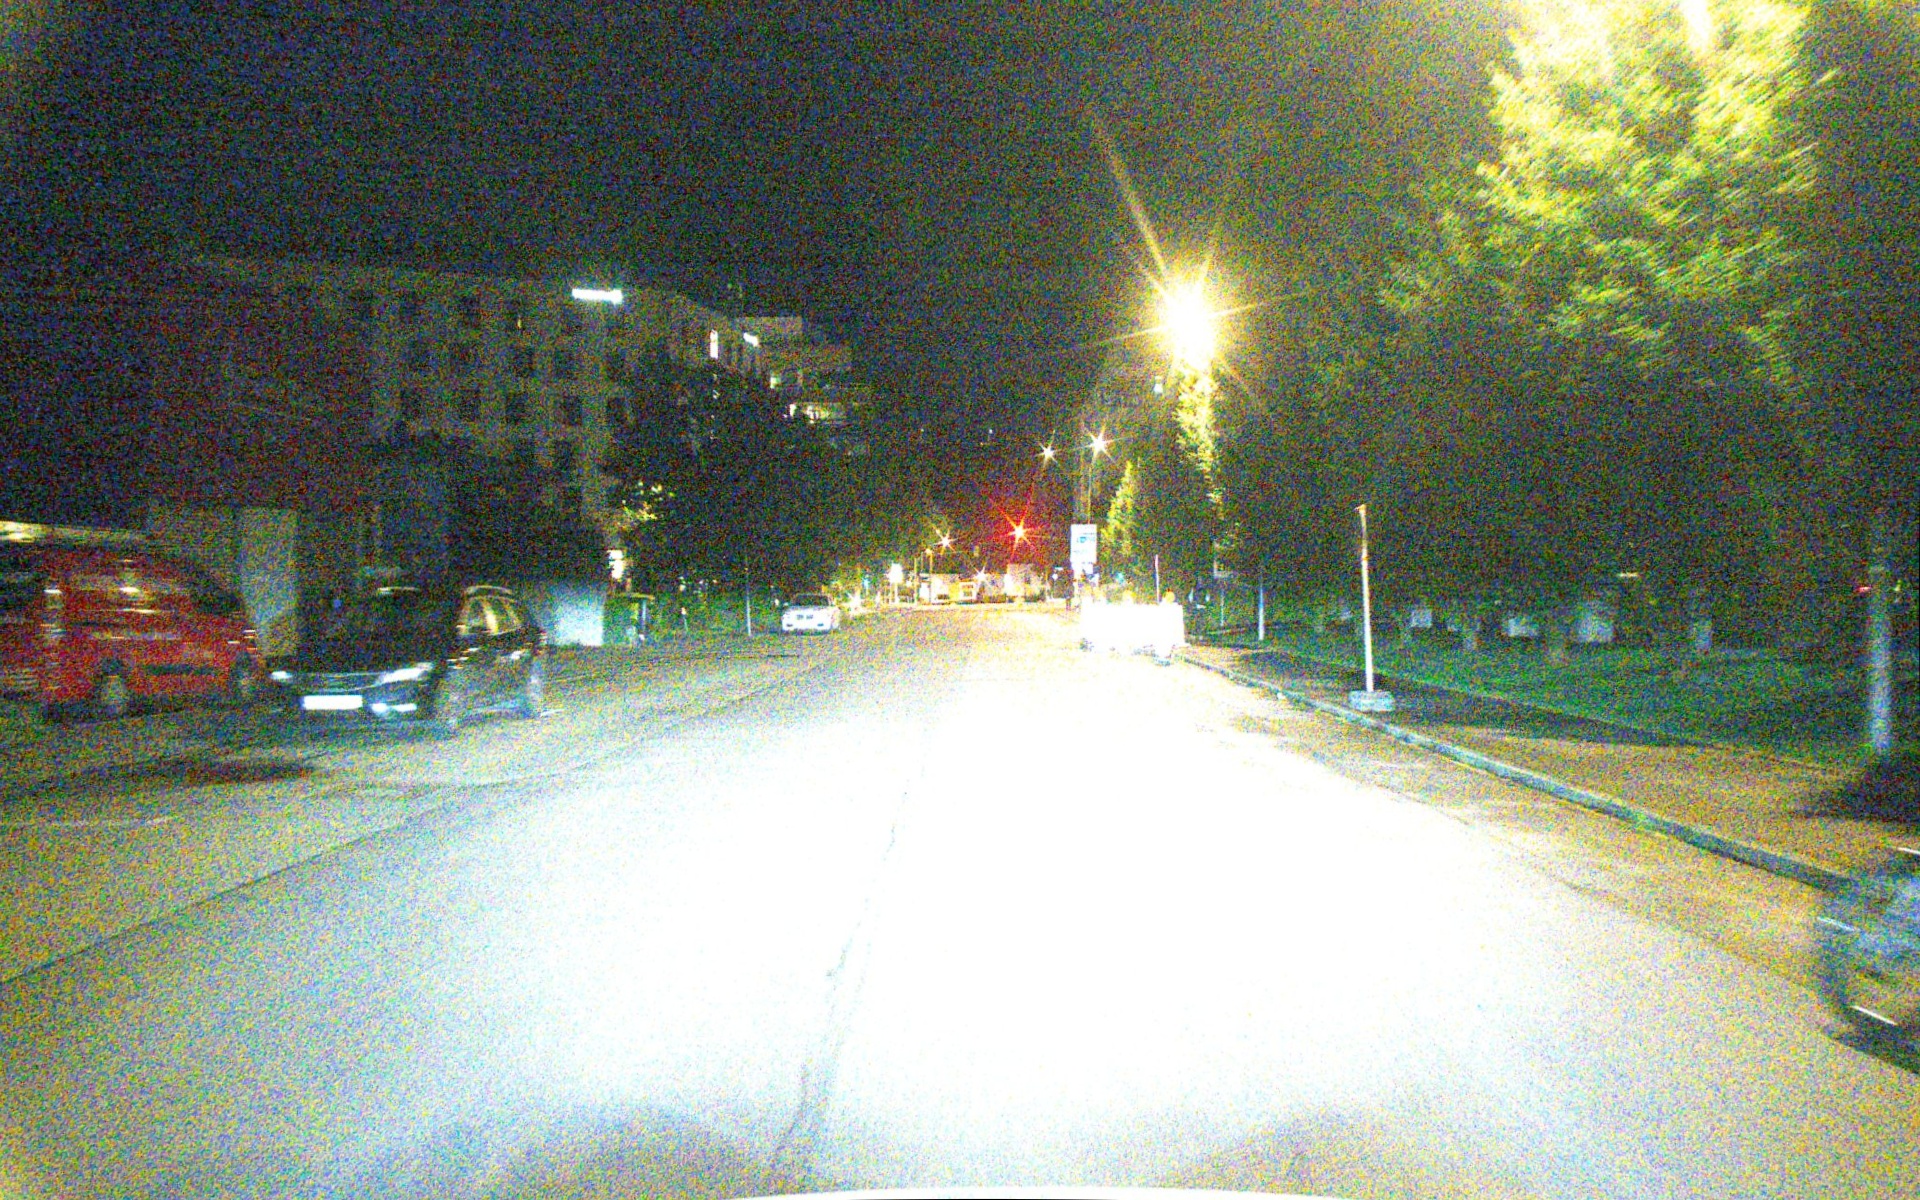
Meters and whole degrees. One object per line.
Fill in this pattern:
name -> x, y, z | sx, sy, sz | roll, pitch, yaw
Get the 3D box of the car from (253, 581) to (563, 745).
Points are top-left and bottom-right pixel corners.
car -> -5.787, 0.593, 17.928 | 1.718, 1.553, 4.324 | 0, 0, 3

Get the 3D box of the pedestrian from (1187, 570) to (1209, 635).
pedestrian -> 6.990, 0.082, 48.571 | 0.558, 1.885, 0.820 | 0, 0, 2

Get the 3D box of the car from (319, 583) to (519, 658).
car -> -12.258, 0.449, 37.642 | 3.905, 1.598, 1.817 | -1, 0, 1

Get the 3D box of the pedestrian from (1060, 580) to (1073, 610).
pedestrian -> 7.304, -0.357, 113.304 | 0.725, 2.016, 0.623 | 0, 0, -15

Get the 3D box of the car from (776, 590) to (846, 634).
car -> -5.145, 0.404, 57.548 | 1.871, 1.428, 4.339 | -1, 0, 2

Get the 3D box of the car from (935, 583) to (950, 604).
car -> -2.584, -0.935, 239.503 | 1.954, 3.026, 3.997 | 0, 0, -4

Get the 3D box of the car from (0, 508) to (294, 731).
car -> -10.351, 0.209, 20.236 | 1.951, 2.362, 4.970 | -2, 0, 5

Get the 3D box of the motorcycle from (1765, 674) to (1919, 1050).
motorcycle -> 3.906, 0.906, 5.491 | 2.139, 1.204, 0.766 | 1, 0, 33

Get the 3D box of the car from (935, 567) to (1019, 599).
car -> 2.575, -2.630, 251.896 | 12.169, 4.792, 4.794 | 0, 0, -13

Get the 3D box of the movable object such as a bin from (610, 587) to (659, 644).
movable object such as a bin -> -8.855, 0.412, 45.029 | 1.141, 1.522, 1.065 | -1, 0, -2

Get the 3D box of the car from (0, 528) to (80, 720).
car -> -12.910, 0.315, 19.612 | 2.161, 2.362, 4.627 | -1, 0, 5
